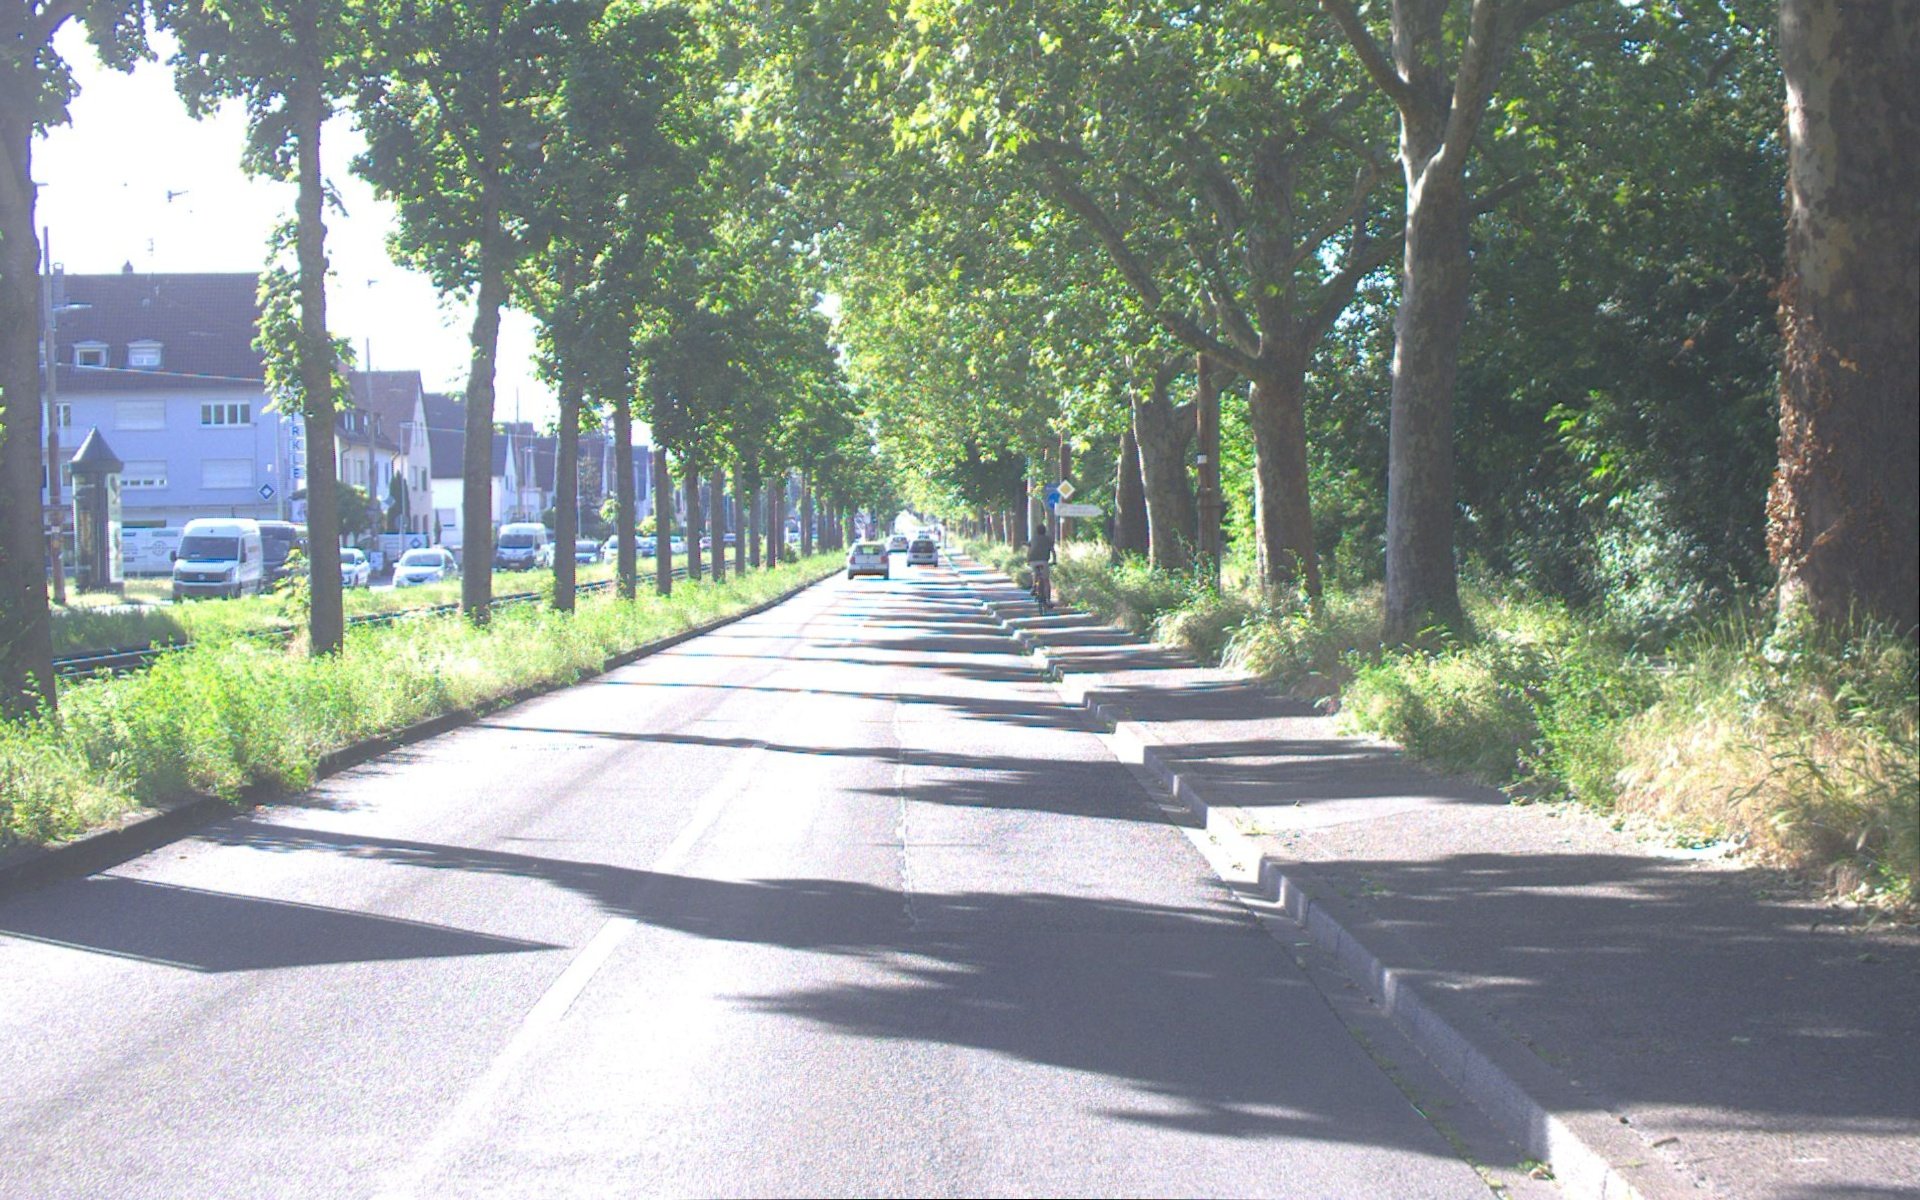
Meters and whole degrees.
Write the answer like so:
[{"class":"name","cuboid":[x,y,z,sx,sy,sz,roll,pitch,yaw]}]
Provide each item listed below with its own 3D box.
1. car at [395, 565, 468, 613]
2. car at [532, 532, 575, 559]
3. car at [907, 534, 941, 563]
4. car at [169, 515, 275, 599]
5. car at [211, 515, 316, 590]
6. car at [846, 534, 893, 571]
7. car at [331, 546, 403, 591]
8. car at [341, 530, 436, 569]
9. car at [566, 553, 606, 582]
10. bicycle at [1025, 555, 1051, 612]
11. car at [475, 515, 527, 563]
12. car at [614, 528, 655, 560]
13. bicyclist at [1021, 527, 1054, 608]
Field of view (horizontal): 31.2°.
[{"class":"car","cuboid":[-17.527,-0.372,114.112,1.727,1.523,4.442,1,1,0]},{"class":"car","cuboid":[-24.162,-3.238,204.234,1.993,1.576,4.498,1,1,0]},{"class":"car","cuboid":[-1.936,-2.785,185.010,1.761,1.508,3.277,1,1,0]},{"class":"car","cuboid":[-22.524,-1.307,105.138,2.001,2.488,6.138,1,1,-1]},{"class":"car","cuboid":[-22.786,-1.536,112.729,2.182,2.368,6.465,1,1,0]},{"class":"car","cuboid":[-3.505,-1.829,133.704,1.738,1.396,3.277,1,1,-1]},{"class":"car","cuboid":[-21.758,-1.148,126.231,1.823,1.601,4.774,1,1,0]},{"class":"car","cuboid":[-28.437,-2.497,170.900,4.616,1.939,2.001,0,1,-11]},{"class":"car","cuboid":[-18.238,-1.573,167.807,1.557,1.390,3.821,1,1,-1]},{"class":"bicycle","cuboid":[1.588,-0.342,70.124,0.440,1.149,1.823,-1,1,-1]},{"class":"car","cuboid":[-24.579,-3.248,184.386,1.993,2.451,6.675,1,1,-1]},{"class":"car","cuboid":[-17.952,-3.081,189.579,1.810,1.738,4.982,1,1,0]},{"class":"bicyclist","cuboid":[1.582,-0.668,70.062,0.613,1.623,0.909,-1,1,-1]}]
